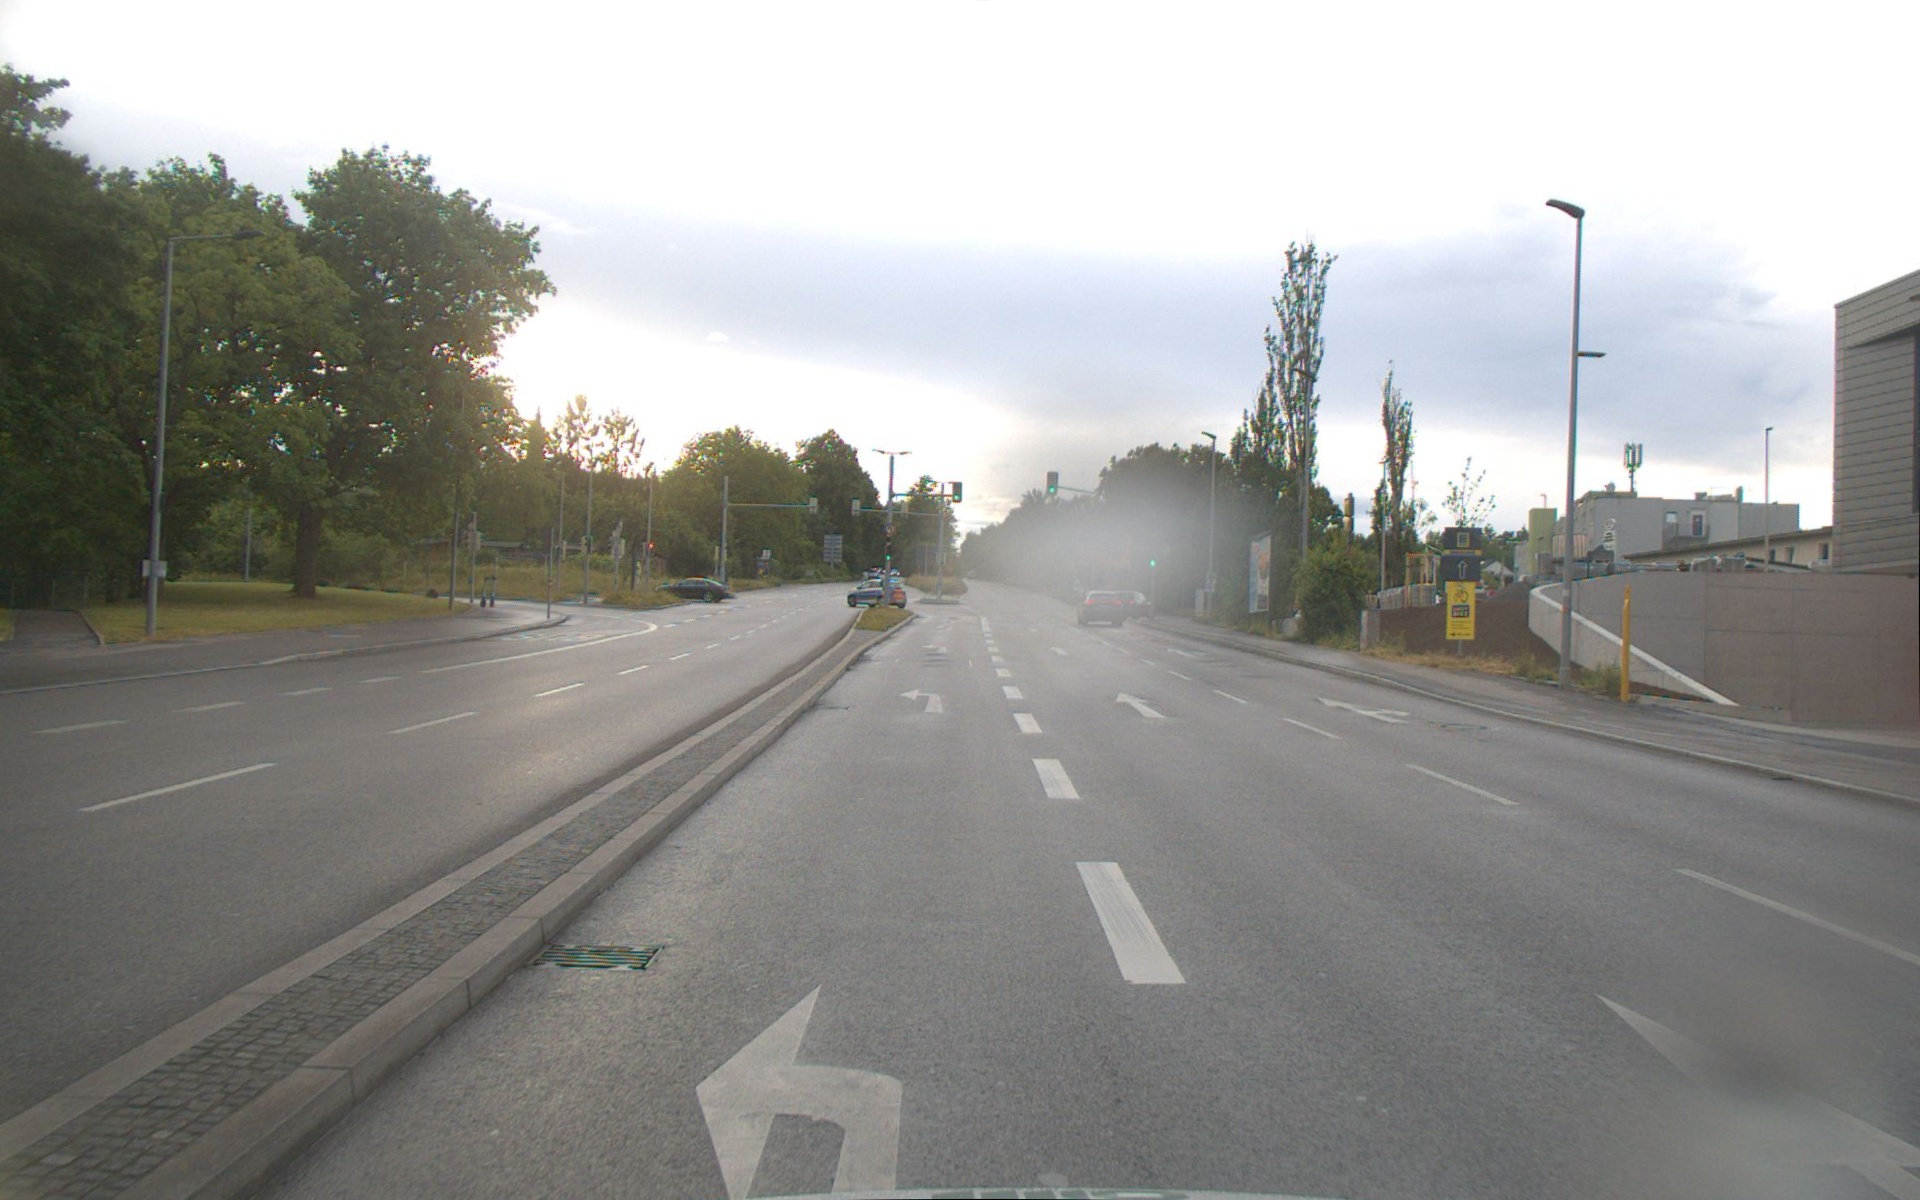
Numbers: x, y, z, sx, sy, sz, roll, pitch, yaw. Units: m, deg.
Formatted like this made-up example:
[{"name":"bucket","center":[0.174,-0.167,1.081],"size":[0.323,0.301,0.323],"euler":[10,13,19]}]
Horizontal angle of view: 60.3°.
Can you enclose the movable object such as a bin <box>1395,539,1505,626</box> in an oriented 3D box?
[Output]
[{"name":"movable object such as a bin","center":[20.140,-0.747,68.320],"size":[2.258,3.333,5.416],"euler":[2,1,-7]}]

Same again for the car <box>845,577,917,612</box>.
[{"name":"car","center":[-4.463,-0.309,92.965],"size":[2.058,1.748,4.148],"euler":[5,-1,-34]}]

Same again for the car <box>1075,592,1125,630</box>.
[{"name":"car","center":[5.991,0.458,71.070],"size":[1.709,1.495,4.166],"euler":[3,1,0]}]

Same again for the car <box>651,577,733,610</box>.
[{"name":"car","center":[-15.816,-0.347,97.790],"size":[4.559,1.610,2.170],"euler":[4,-1,-6]}]

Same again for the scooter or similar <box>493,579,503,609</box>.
[{"name":"scooter or similar","center":[-19.436,-0.244,69.583],"size":[0.306,1.239,1.303],"euler":[2,1,-13]}]

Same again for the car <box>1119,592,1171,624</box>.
[{"name":"car","center":[9.333,0.383,83.106],"size":[1.708,1.495,4.167],"euler":[3,1,18]}]

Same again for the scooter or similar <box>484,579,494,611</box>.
[{"name":"scooter or similar","center":[-19.339,-0.210,67.890],"size":[0.306,1.239,1.303],"euler":[2,1,-14]}]
